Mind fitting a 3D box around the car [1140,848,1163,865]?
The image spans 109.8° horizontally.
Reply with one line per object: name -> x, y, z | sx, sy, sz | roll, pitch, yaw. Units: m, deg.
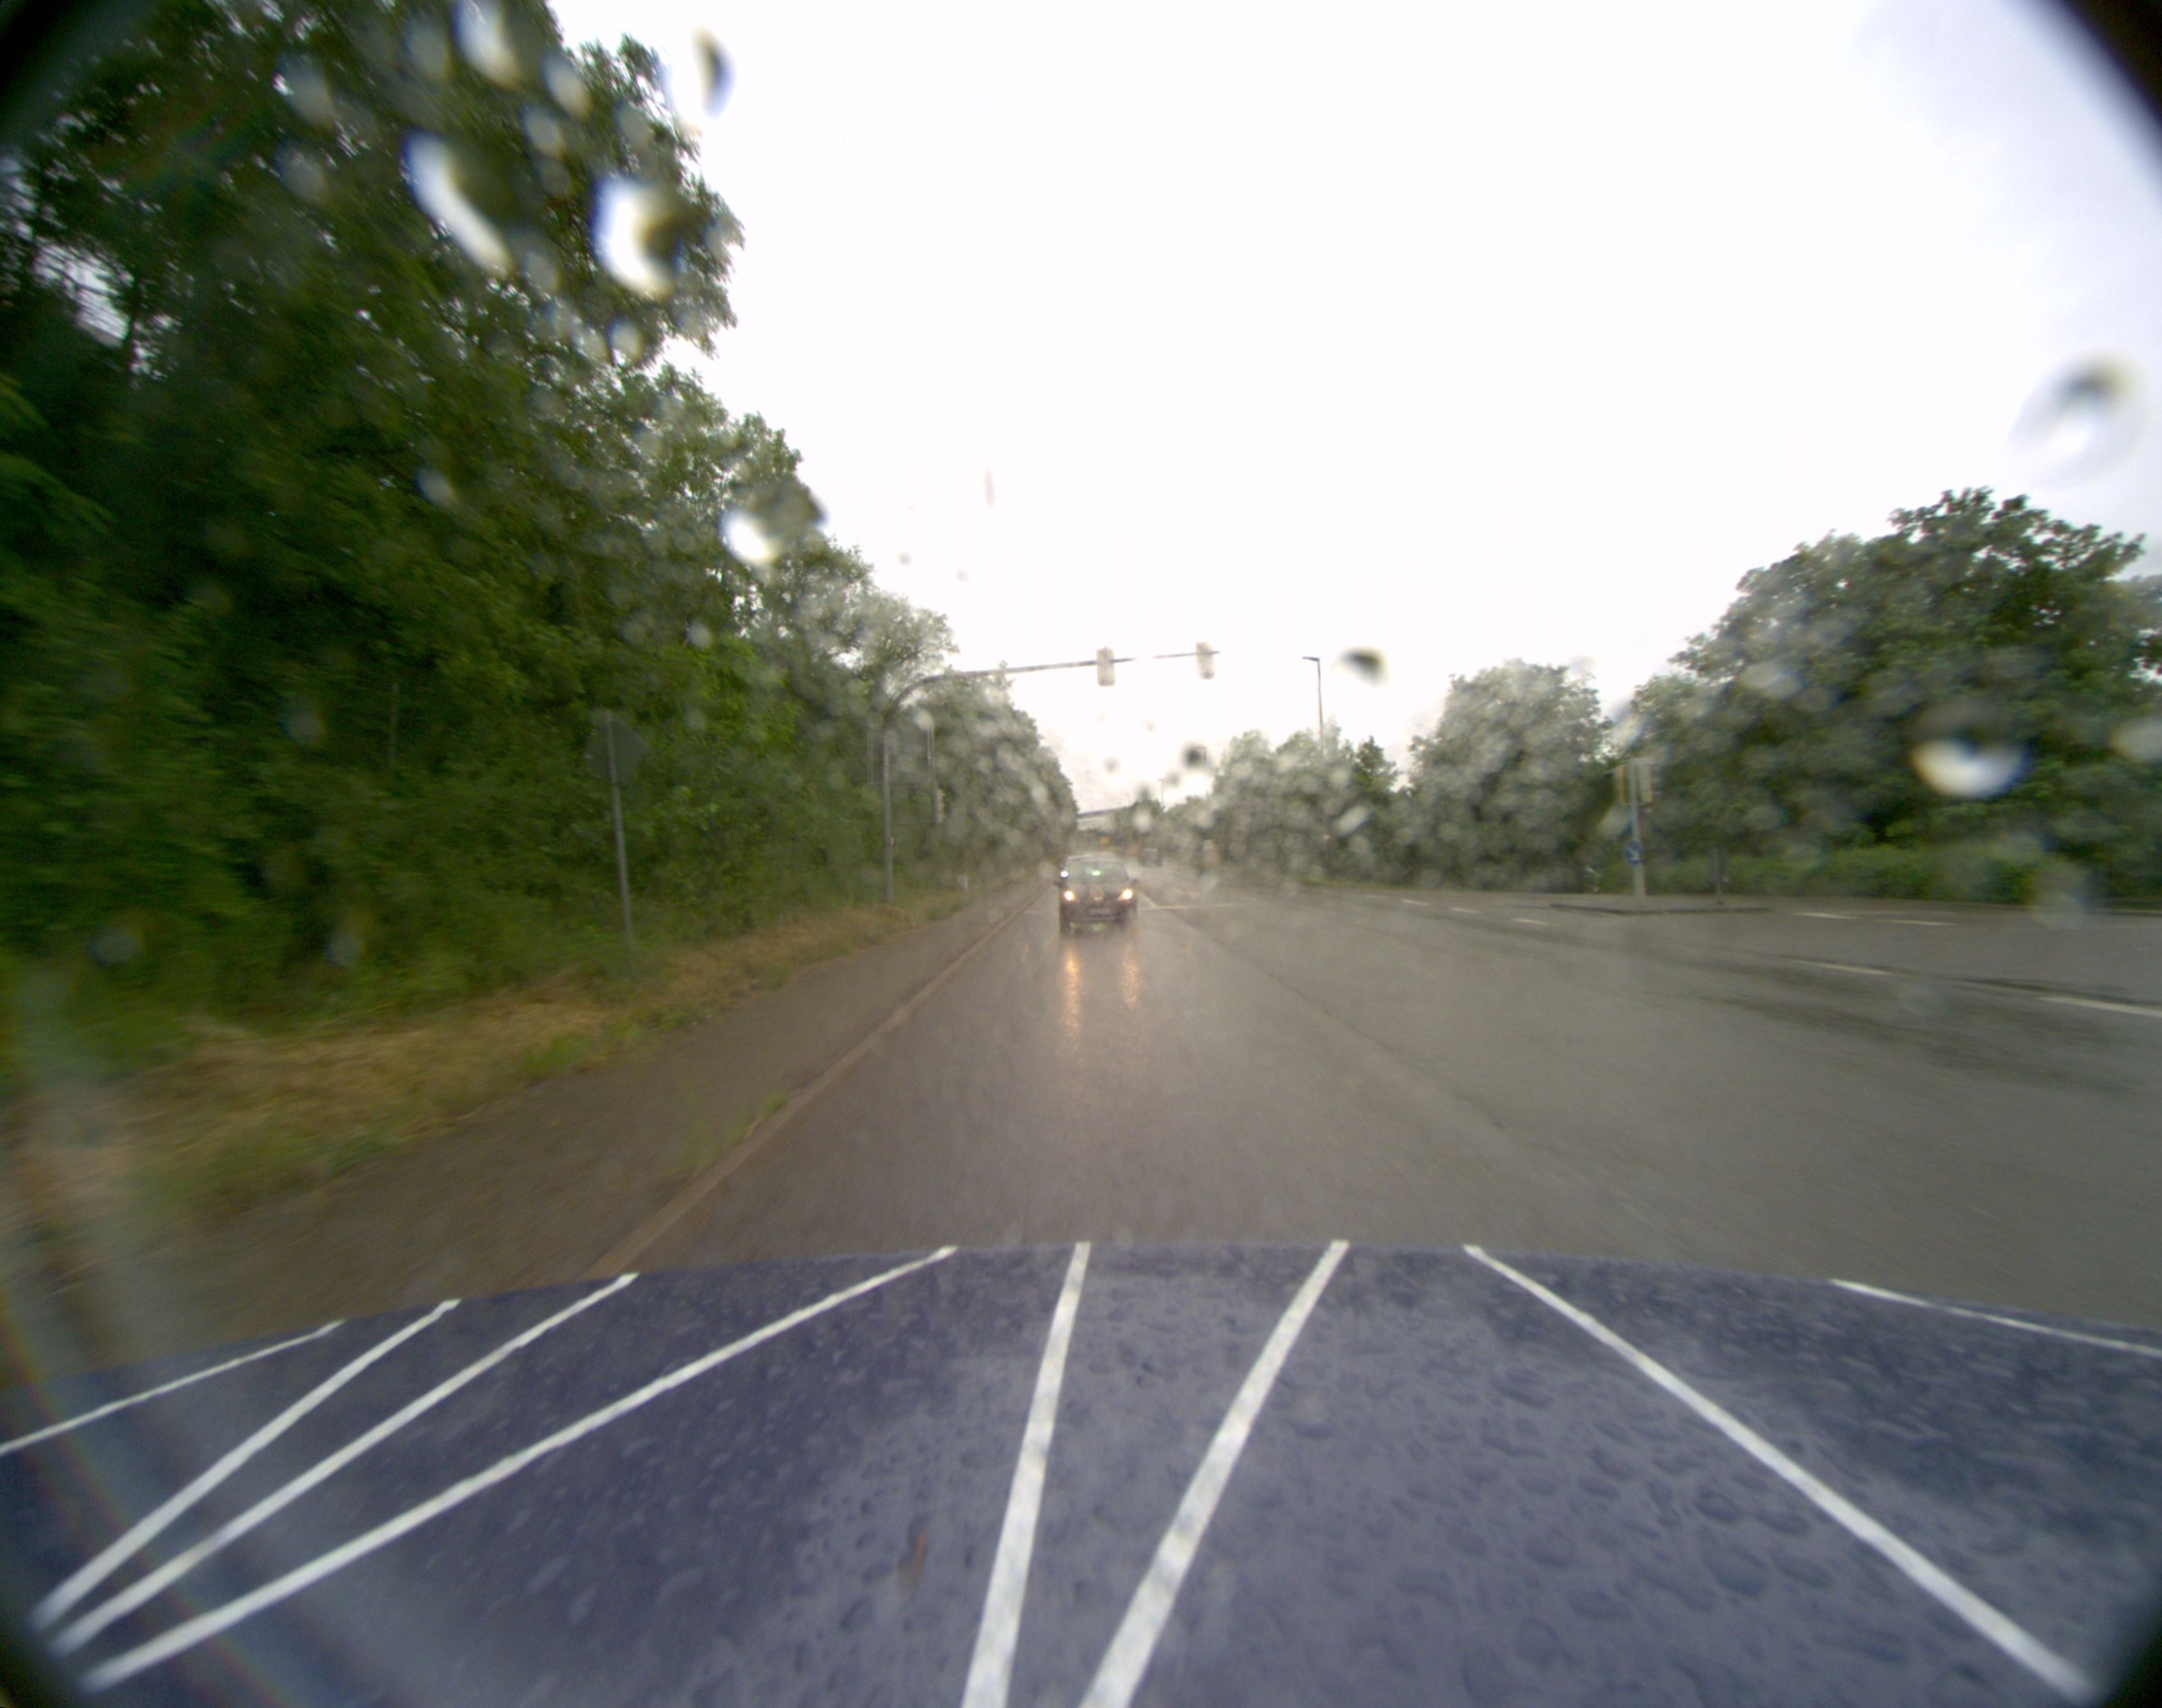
car -> 6.435, 0.220, 69.674 | 1.737, 1.565, 3.869 | -1, 0, 0

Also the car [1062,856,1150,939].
car -> 0.465, 0.849, 16.619 | 1.681, 1.561, 3.888 | -1, 0, -1

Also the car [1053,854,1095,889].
car -> -0.277, 0.767, 34.752 | 1.681, 1.498, 4.154 | -1, 0, 2
